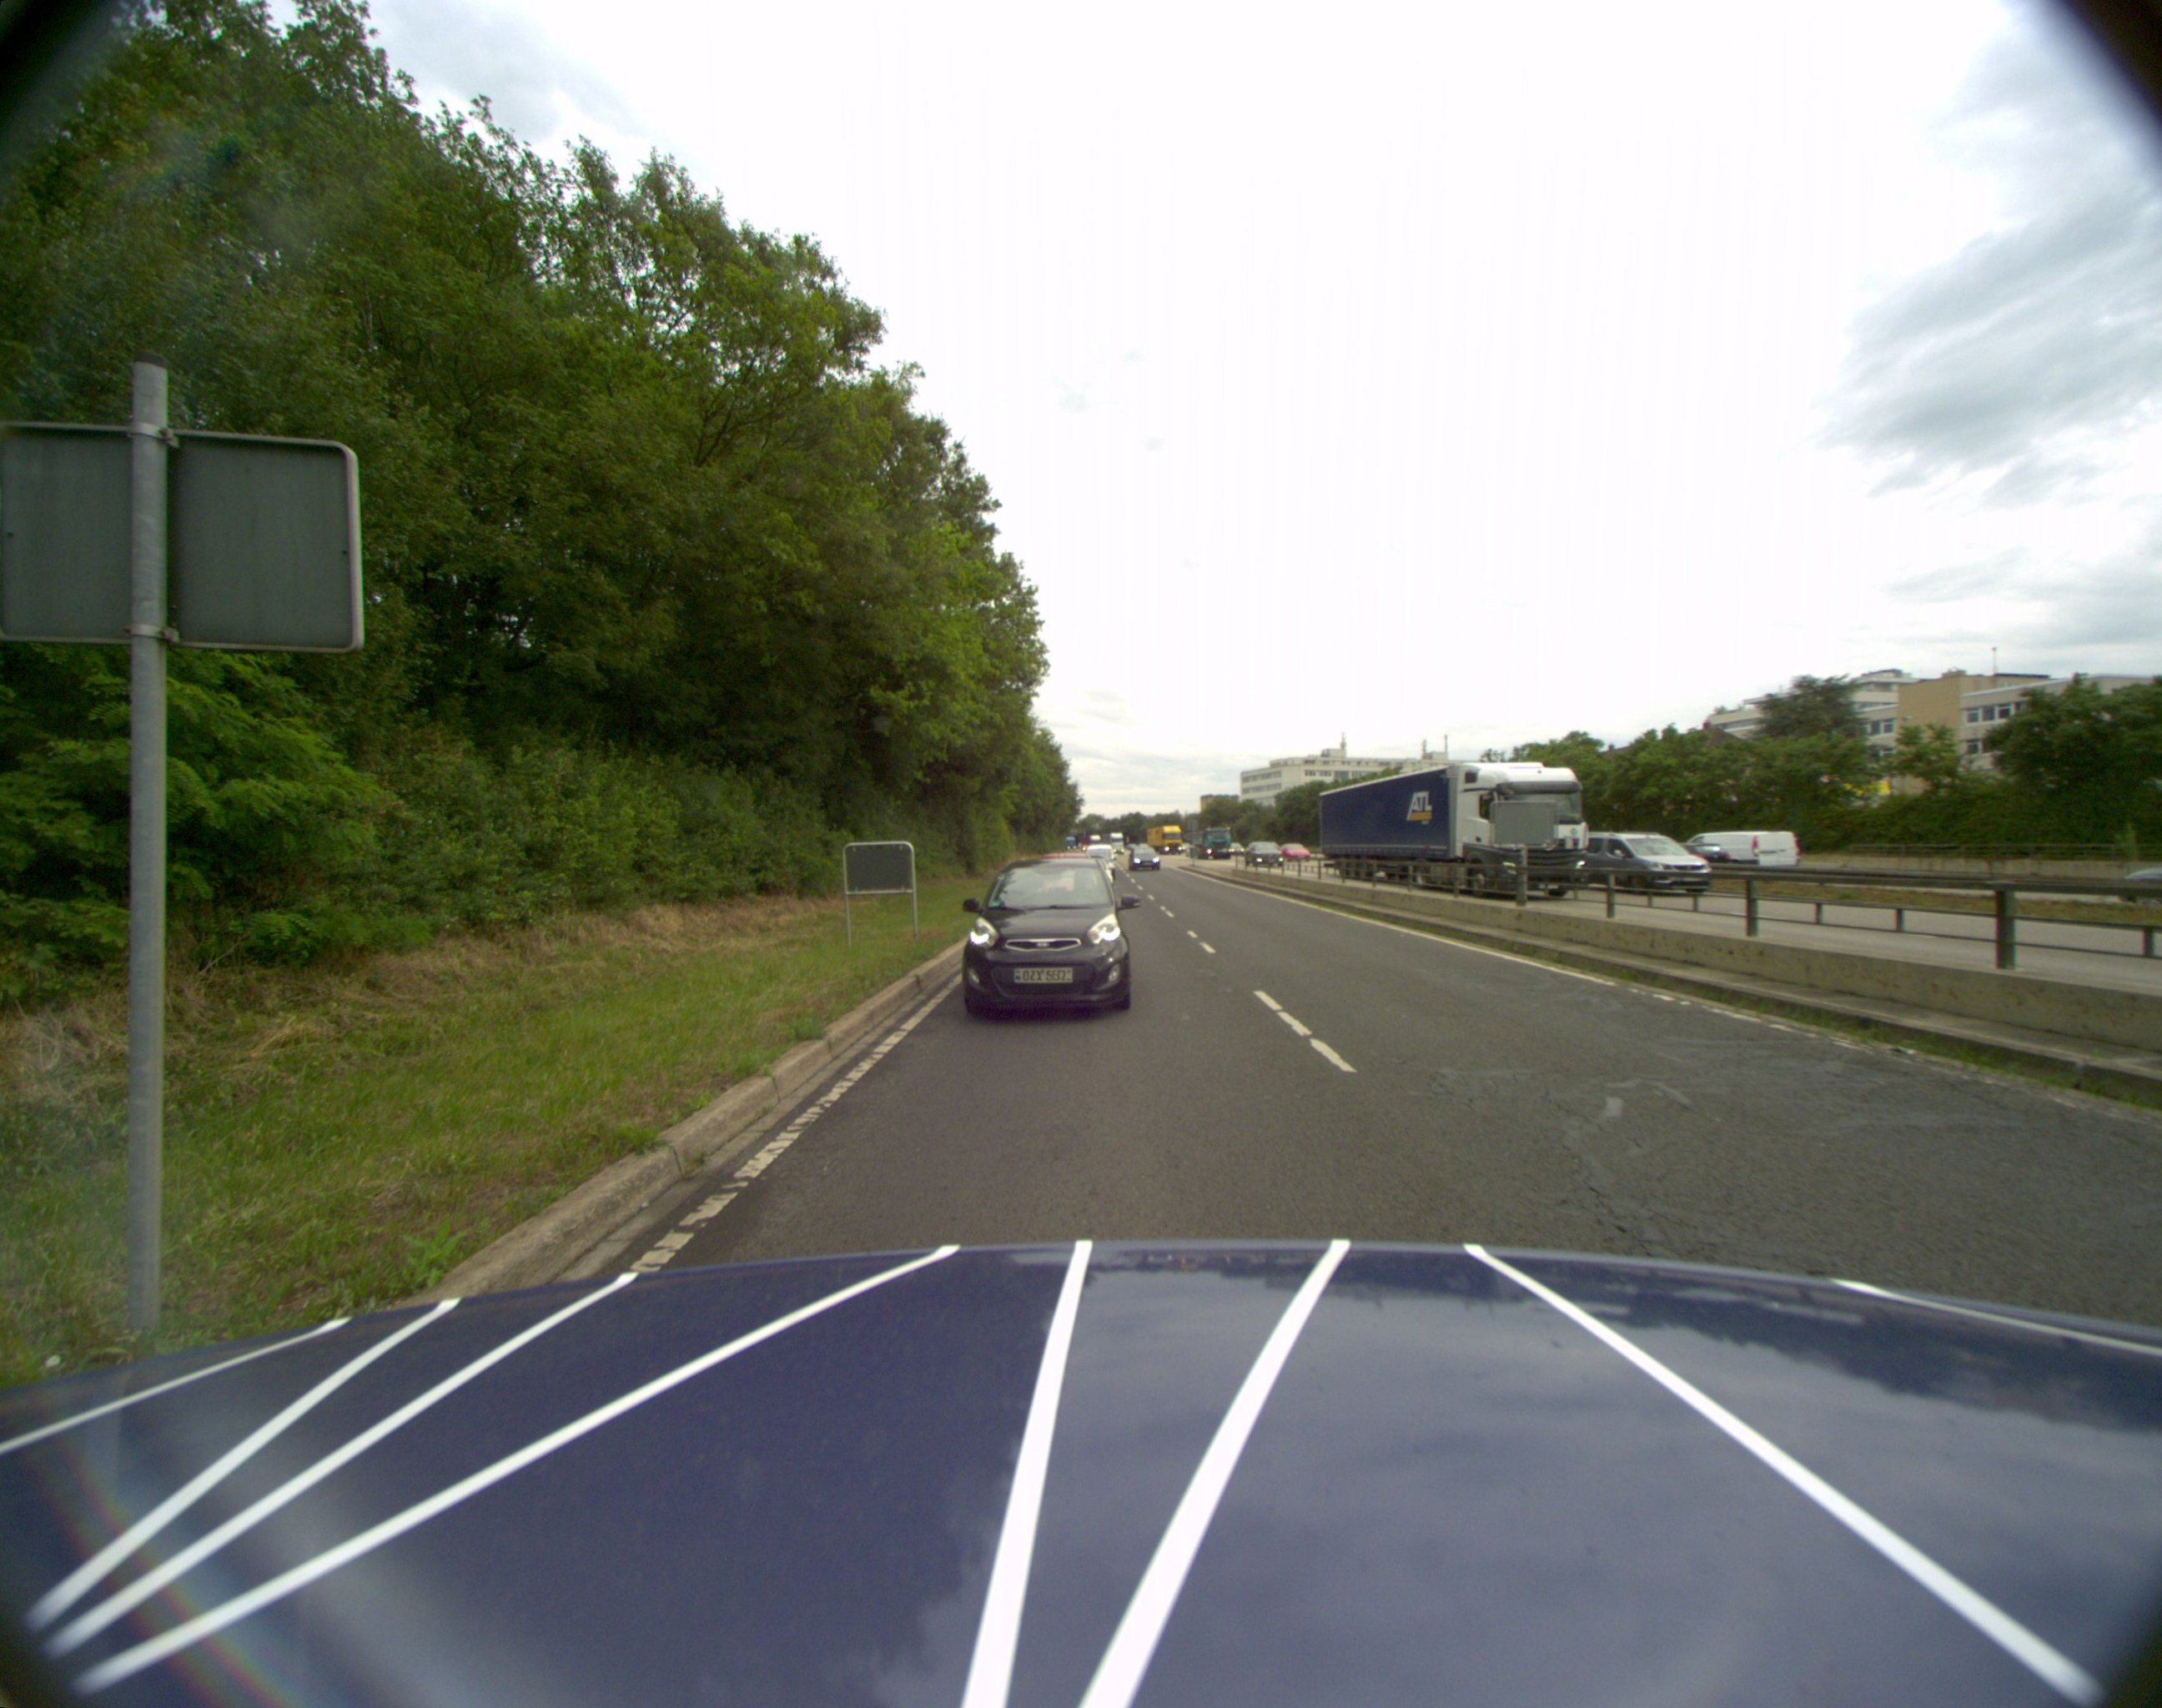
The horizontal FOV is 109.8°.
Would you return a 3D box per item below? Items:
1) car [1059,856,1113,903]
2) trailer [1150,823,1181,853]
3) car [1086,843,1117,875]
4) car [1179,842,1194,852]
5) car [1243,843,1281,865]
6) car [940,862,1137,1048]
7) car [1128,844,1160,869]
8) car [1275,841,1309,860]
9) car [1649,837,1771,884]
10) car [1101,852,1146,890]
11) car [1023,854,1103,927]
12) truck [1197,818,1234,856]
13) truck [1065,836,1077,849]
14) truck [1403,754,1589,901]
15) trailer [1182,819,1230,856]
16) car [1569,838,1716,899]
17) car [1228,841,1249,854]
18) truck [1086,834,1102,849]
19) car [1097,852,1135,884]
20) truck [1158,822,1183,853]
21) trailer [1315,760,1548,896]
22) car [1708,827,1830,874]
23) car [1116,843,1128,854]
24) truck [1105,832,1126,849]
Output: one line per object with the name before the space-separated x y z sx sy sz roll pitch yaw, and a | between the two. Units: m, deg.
car | 0.177 0.784 25.500 1.627 1.337 3.999 -2 1 1
trailer | 13.011 -2.444 118.700 2.898 4.328 19.919 0 1 1
car | 1.258 0.262 47.079 1.769 1.786 4.577 -2 1 1
car | 17.085 -1.148 122.783 1.784 1.554 4.421 -2 1 1
car | 12.360 -0.021 52.027 1.627 1.433 3.999 -2 1 1
car | -0.336 0.886 8.476 1.627 1.433 3.999 -2 1 1
car | 4.183 0.149 50.998 1.784 1.554 4.421 -2 1 1
car | 17.205 -0.304 62.086 1.627 1.433 3.999 -2 1 1
car | 24.665 0.209 29.986 1.627 1.660 3.896 -2 1 1
car | 1.663 0.650 30.928 1.627 1.337 3.999 -2 1 1
car | -0.357 0.780 18.017 1.627 1.433 3.999 -2 1 1
truck | 13.307 -1.632 75.563 2.645 3.614 6.667 0 1 1
truck | -3.347 -3.801 251.011 2.533 4.013 13.766 -1 1 -8
truck | 12.632 -0.763 23.832 2.531 4.013 6.096 0 1 1
trailer | 13.391 -1.722 82.965 2.613 3.620 16.747 0 1 1
car | 17.042 0.374 23.308 1.627 1.660 3.896 -2 1 1
car | 18.695 -0.771 90.467 1.627 1.433 3.999 -2 1 1
truck | 3.554 -3.342 211.946 2.533 4.013 13.766 -1 1 -8
car | 1.628 0.609 36.261 1.627 1.337 3.999 -2 1 1
truck | 12.901 -2.323 109.569 2.893 4.319 6.518 0 1 1
trailer | 12.708 -0.870 30.029 2.531 4.013 14.782 0 1 1
car | 28.517 -0.152 31.653 1.627 1.768 3.897 -2 1 2
car | 6.798 -0.969 127.584 1.769 1.786 4.577 -2 1 1
truck | 8.018 -3.124 177.459 2.958 4.013 13.768 0 1 -6
